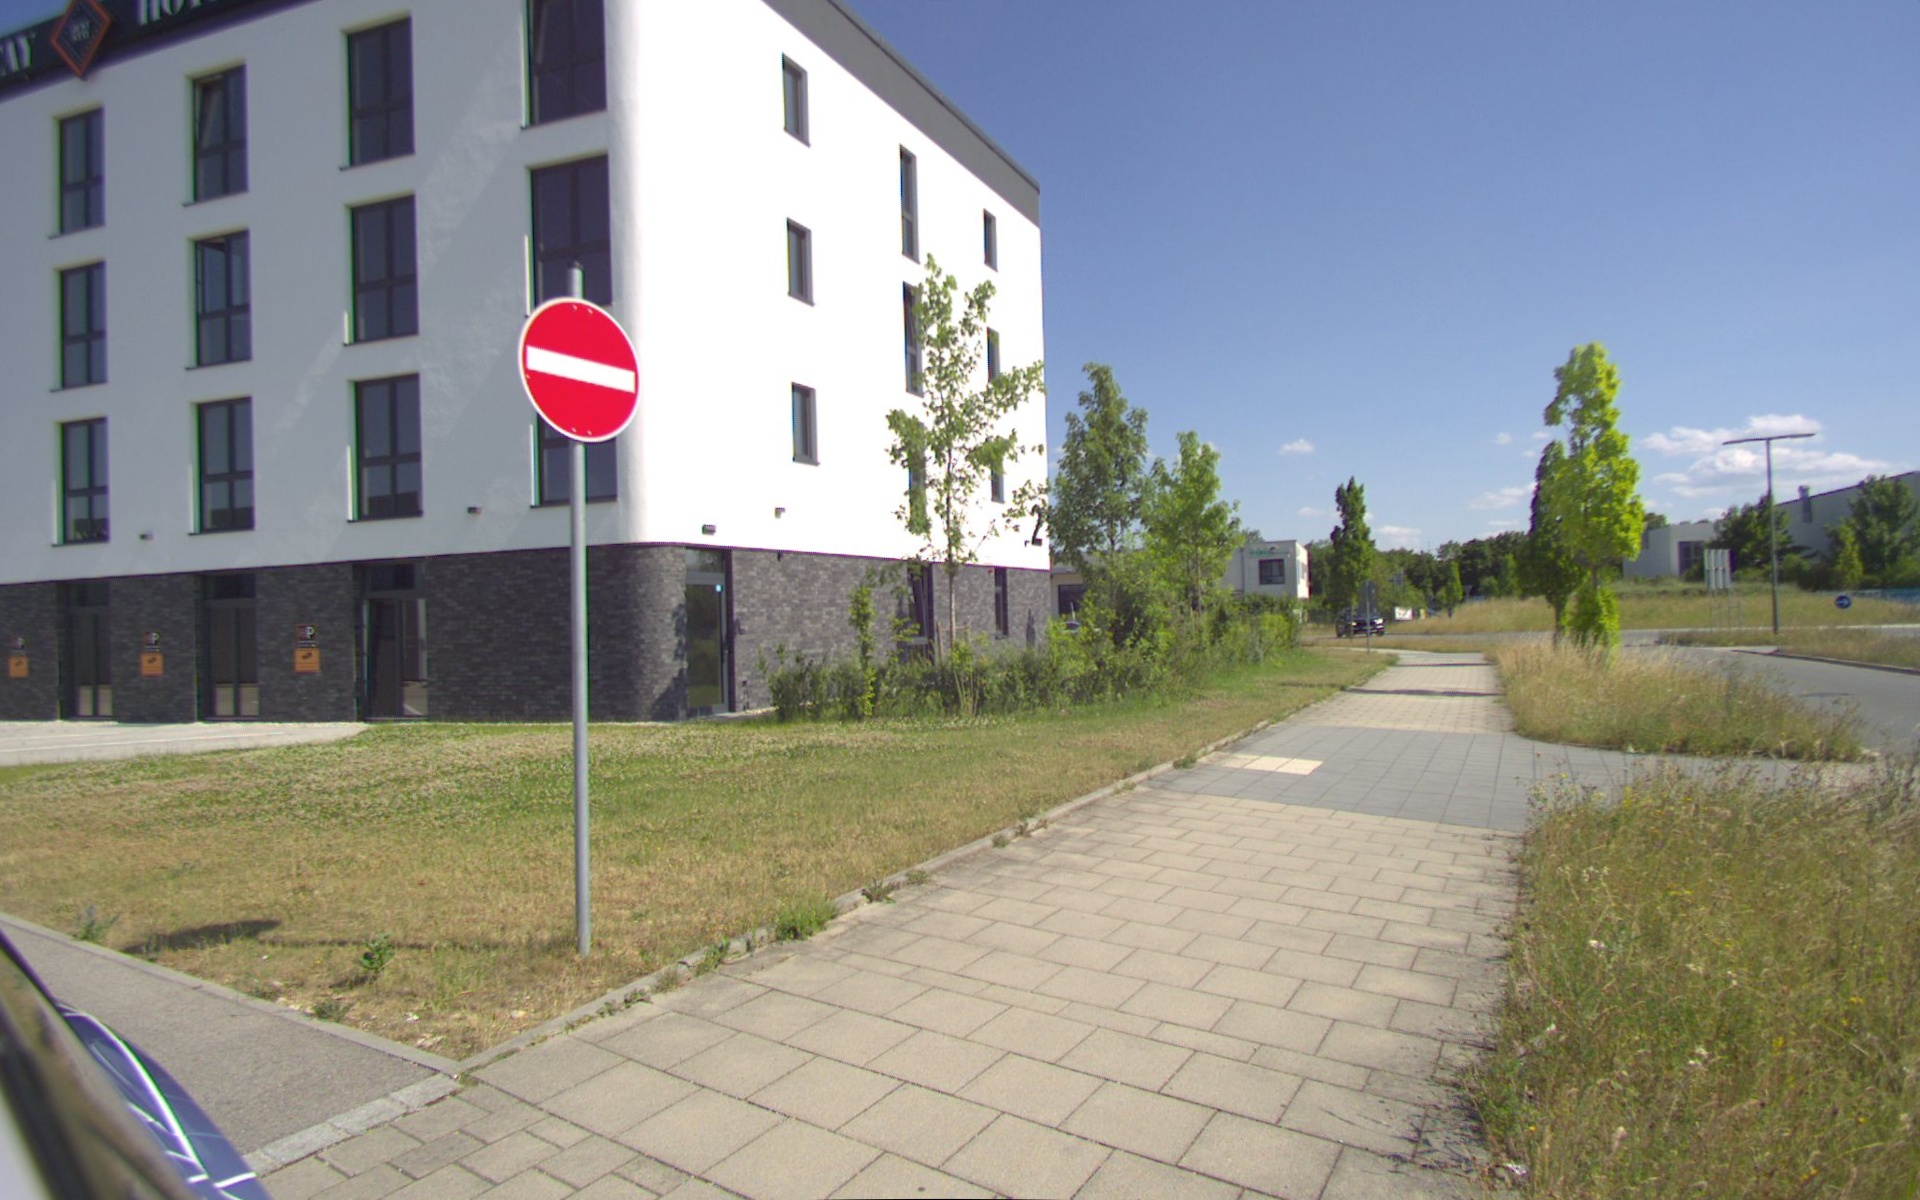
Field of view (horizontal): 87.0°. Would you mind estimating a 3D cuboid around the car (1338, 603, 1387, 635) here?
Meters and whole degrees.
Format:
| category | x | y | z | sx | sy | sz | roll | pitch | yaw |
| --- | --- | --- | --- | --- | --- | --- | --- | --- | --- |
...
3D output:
| category | x | y | z | sx | sy | sz | roll | pitch | yaw |
| --- | --- | --- | --- | --- | --- | --- | --- | --- | --- |
| car | 22.069 | 1.077 | 55.673 | 1.824 | 1.586 | 3.983 | -3 | -2 | 13 |
